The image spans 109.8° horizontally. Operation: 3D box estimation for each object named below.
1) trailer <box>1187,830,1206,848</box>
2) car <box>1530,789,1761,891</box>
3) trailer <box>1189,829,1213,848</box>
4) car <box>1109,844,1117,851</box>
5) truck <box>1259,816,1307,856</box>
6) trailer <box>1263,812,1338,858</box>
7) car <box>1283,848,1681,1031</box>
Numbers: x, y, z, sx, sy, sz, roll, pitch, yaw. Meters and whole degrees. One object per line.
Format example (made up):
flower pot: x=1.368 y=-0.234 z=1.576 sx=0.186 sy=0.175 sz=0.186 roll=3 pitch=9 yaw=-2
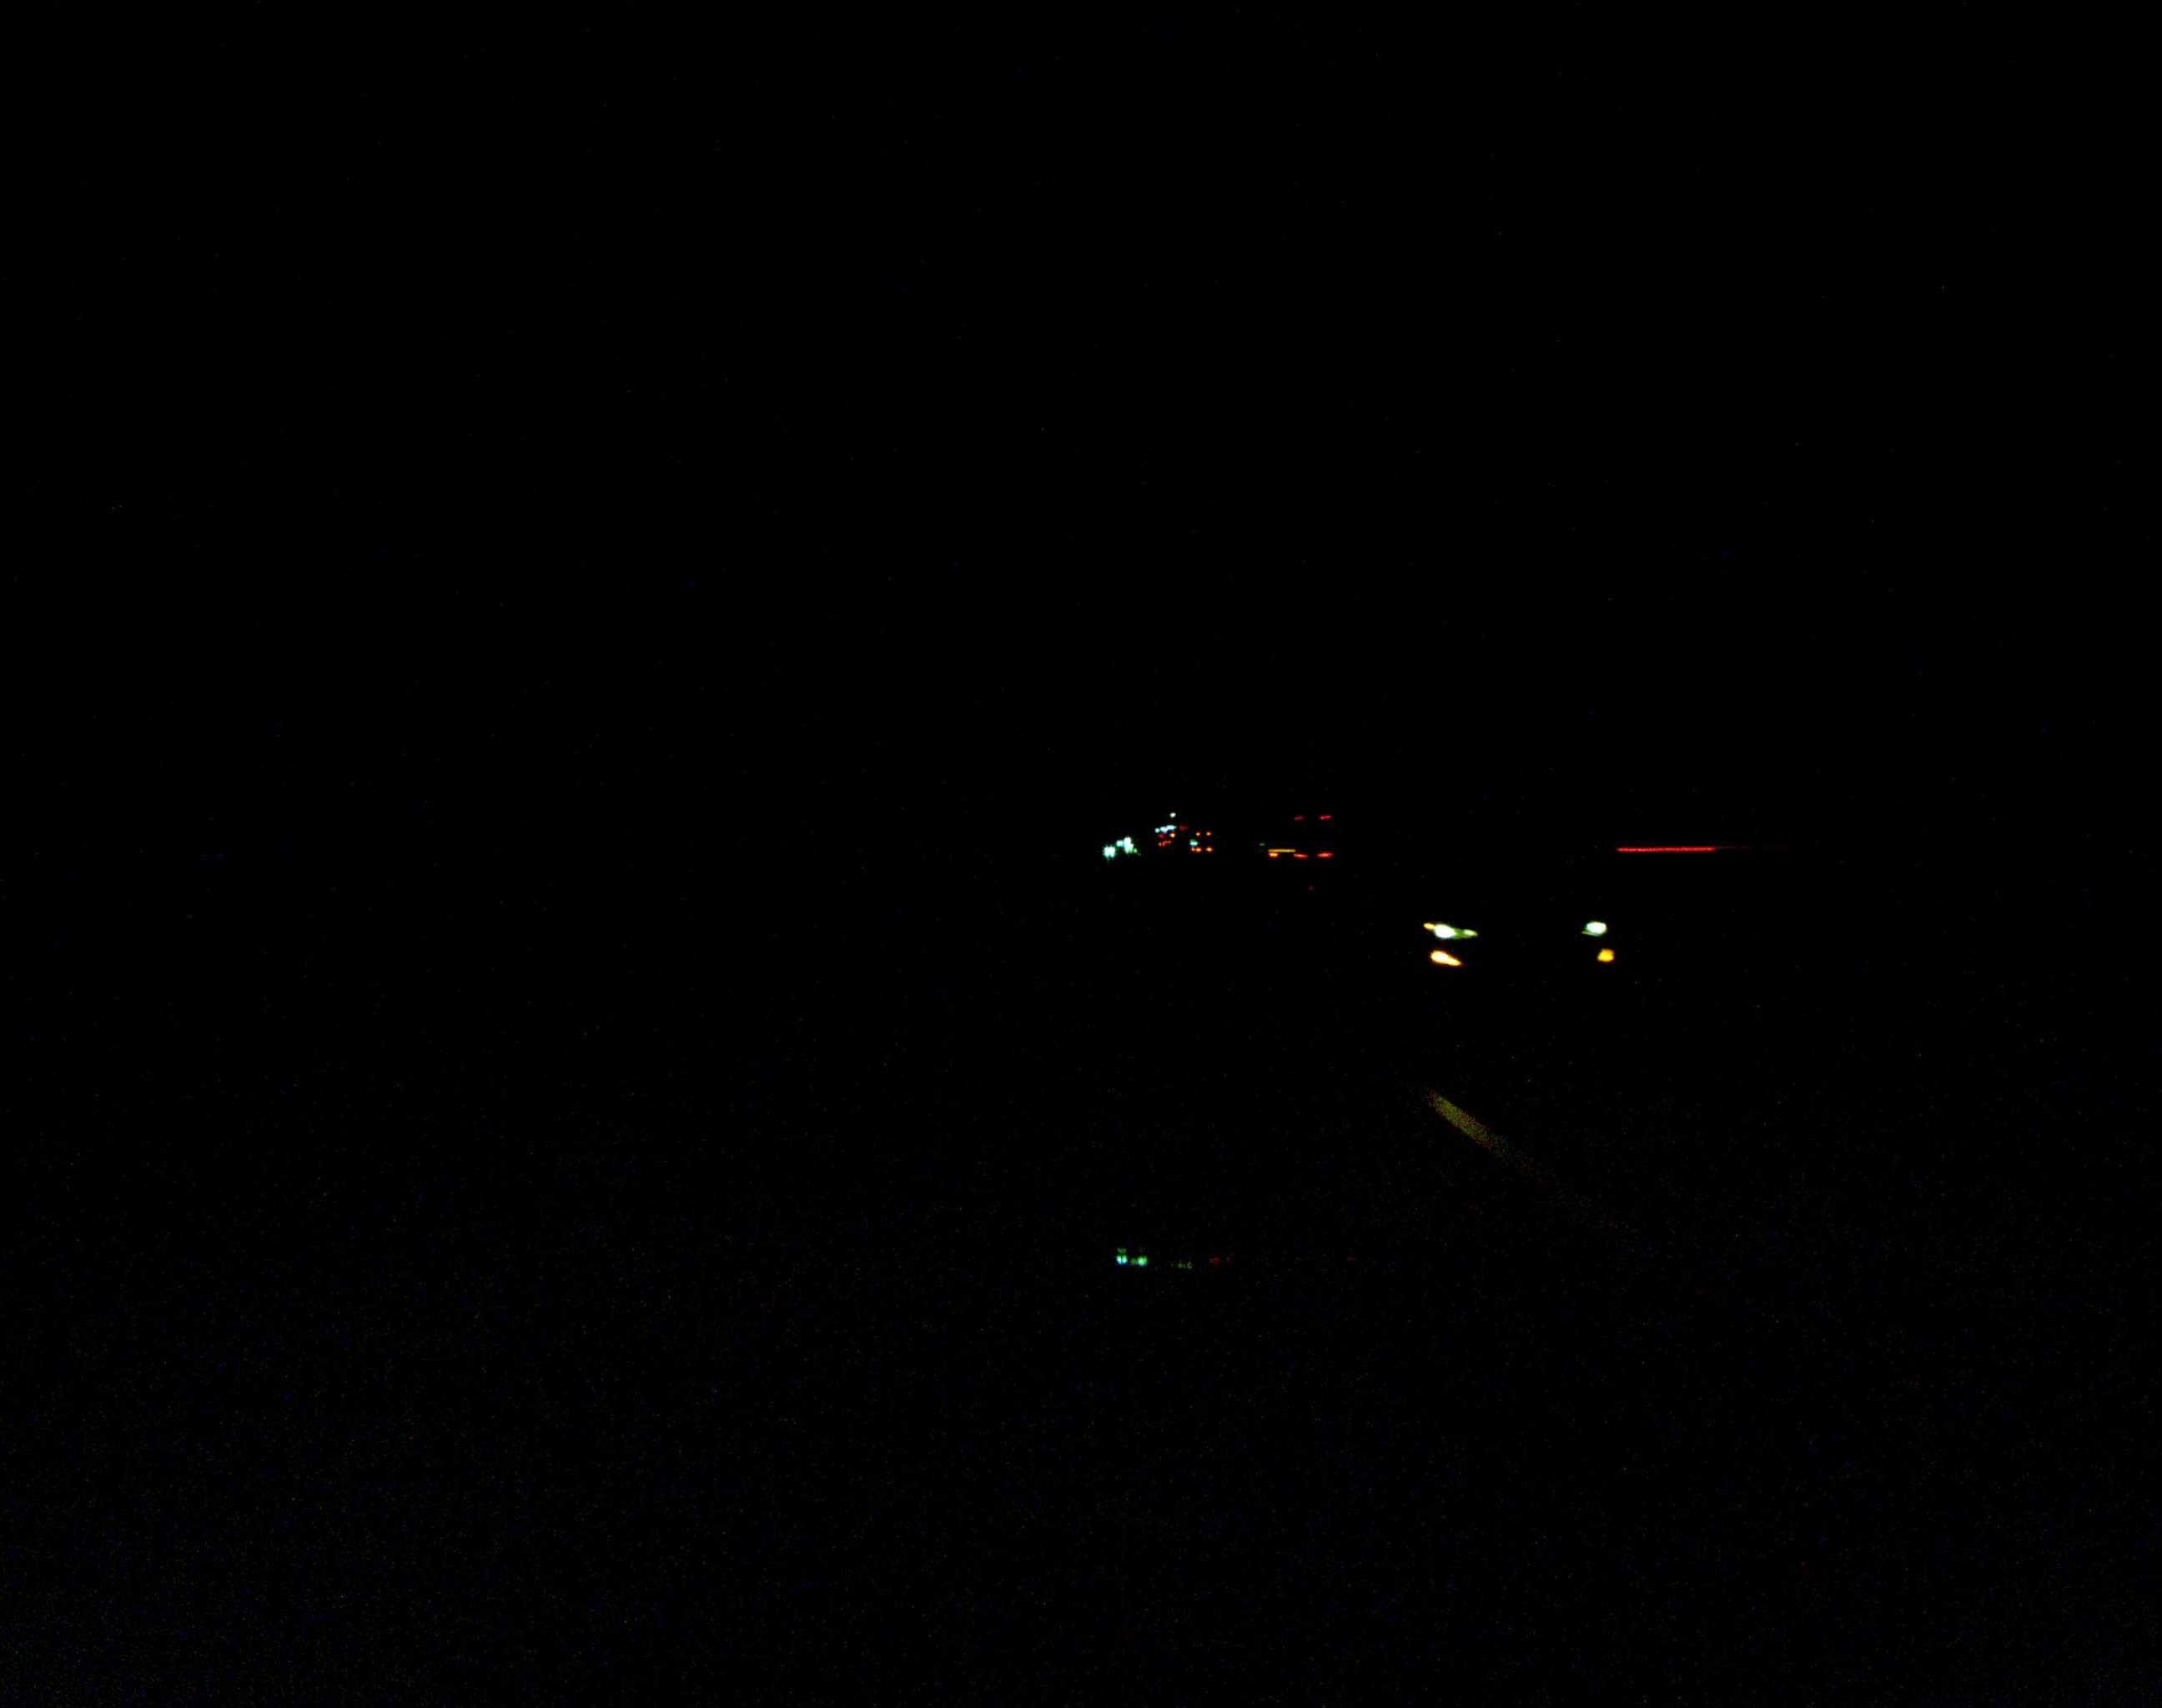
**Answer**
trailer: x=25.810 y=-3.361 z=170.149 sx=3.438 sy=3.957 sz=7.352 roll=-2 pitch=1 yaw=2
car: x=15.970 y=-0.367 z=22.129 sx=2.106 sy=2.503 sz=6.215 roll=-2 pitch=0 yaw=1
trailer: x=25.547 y=-3.258 z=162.442 sx=3.438 sy=3.957 sz=14.048 roll=-2 pitch=1 yaw=2
car: x=8.939 y=-1.844 z=211.111 sx=1.998 sy=1.653 sz=3.999 roll=-2 pitch=2 yaw=3
truck: x=21.390 y=-1.861 z=80.847 sx=3.438 sy=3.957 sz=6.206 roll=-2 pitch=1 yaw=1
trailer: x=21.339 y=-1.770 z=74.928 sx=3.438 sy=3.957 sz=13.810 roll=-2 pitch=1 yaw=1
car: x=4.214 y=0.762 z=9.401 sx=1.998 sy=1.509 sz=5.651 roll=-2 pitch=0 yaw=1
